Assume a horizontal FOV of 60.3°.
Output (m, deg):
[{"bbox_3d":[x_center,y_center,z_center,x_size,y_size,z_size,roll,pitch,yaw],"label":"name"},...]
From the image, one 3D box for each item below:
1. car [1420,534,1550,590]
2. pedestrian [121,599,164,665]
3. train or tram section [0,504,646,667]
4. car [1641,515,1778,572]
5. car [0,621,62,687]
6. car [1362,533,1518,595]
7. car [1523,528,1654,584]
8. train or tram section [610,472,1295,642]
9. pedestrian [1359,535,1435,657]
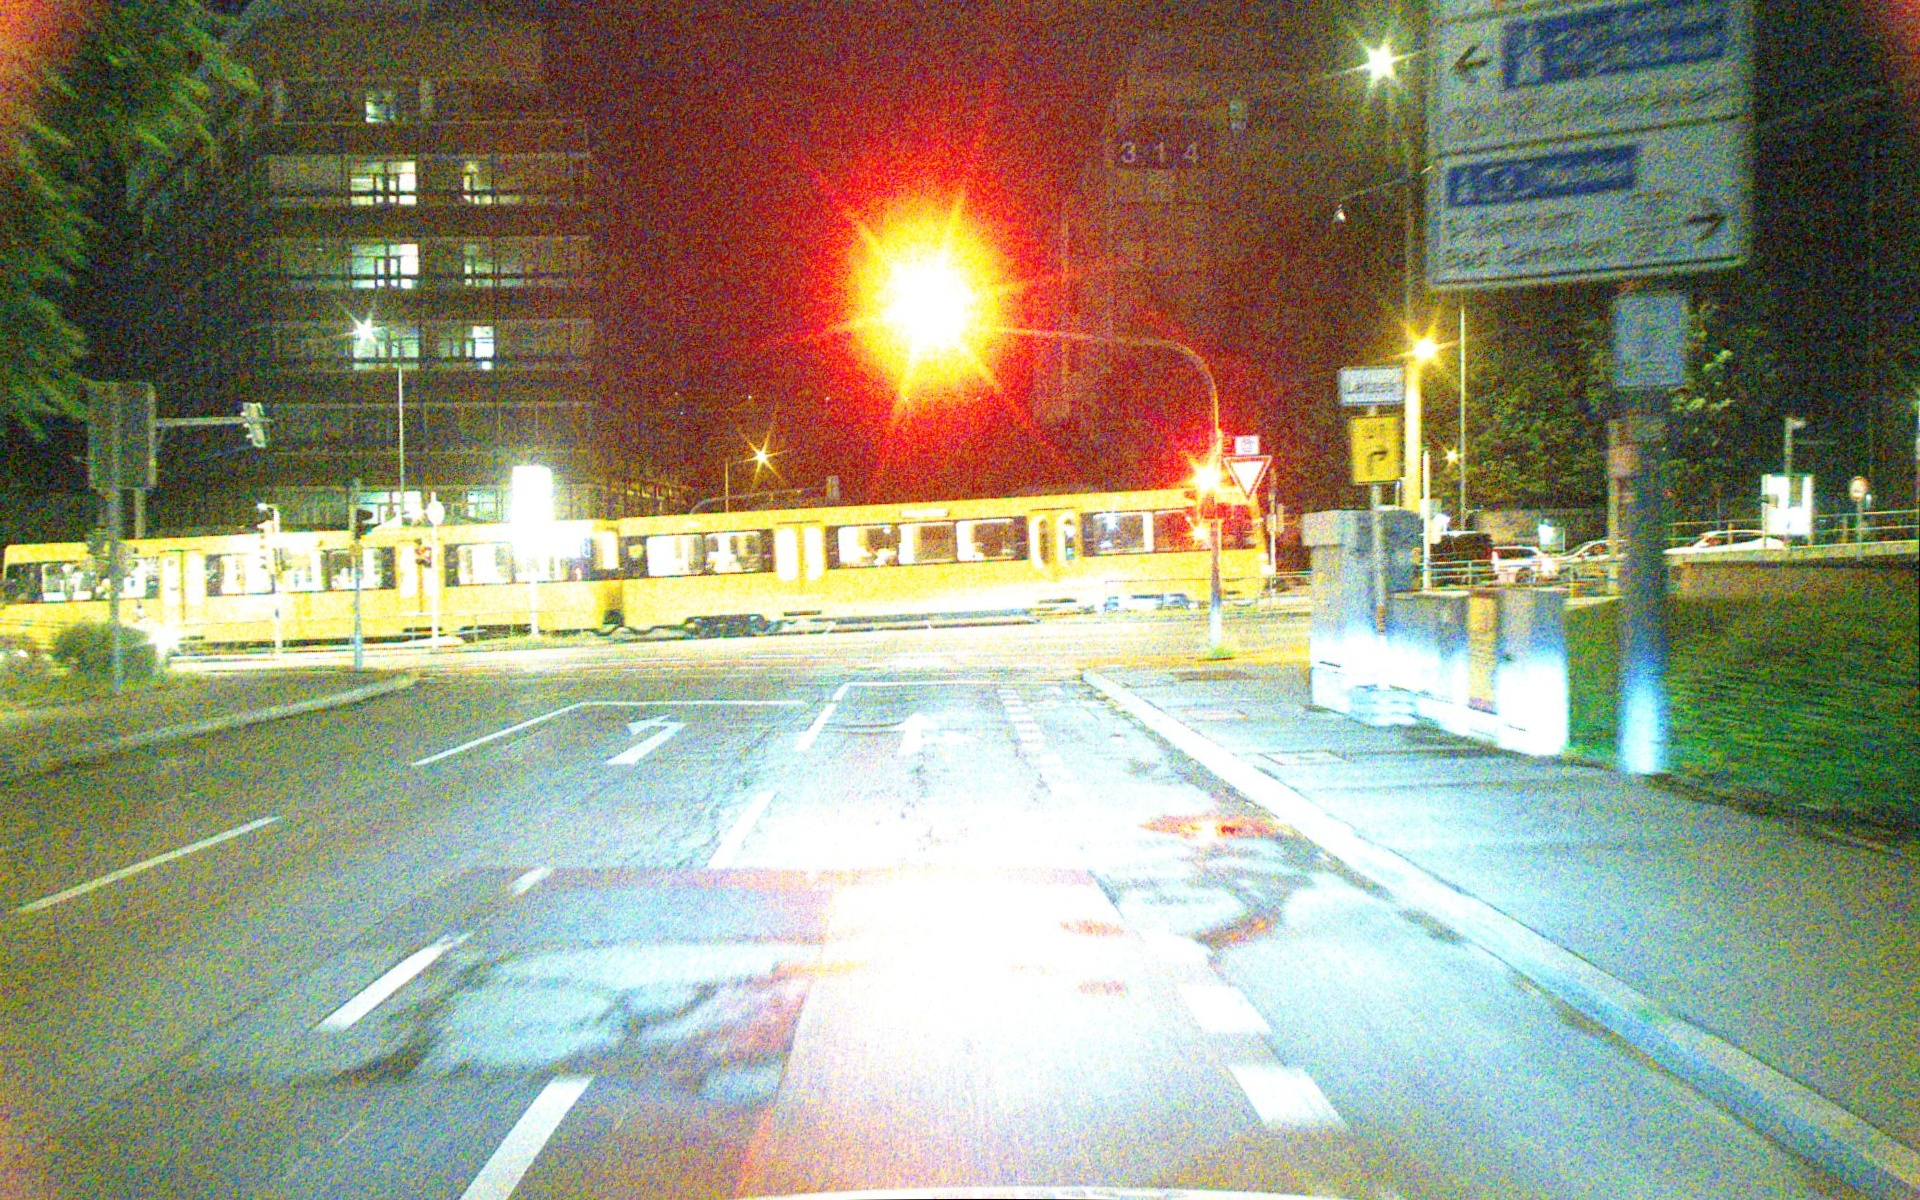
[{"bbox_3d":[18.291,-1.329,57.744,3.972,1.643,1.870,-4,1,8],"label":"car"},{"bbox_3d":[-22.428,0.873,45.403,0.749,1.767,0.659,-3,1,0],"label":"pedestrian"},{"bbox_3d":[-19.186,-0.376,48.442,19.376,3.929,2.942,-2,0,4],"label":"train or tram section"},{"bbox_3d":[26.195,-1.960,57.913,3.903,1.601,1.887,-5,1,9],"label":"car"},{"bbox_3d":[-24.145,1.336,40.094,3.683,1.506,1.910,-2,0,6],"label":"car"},{"bbox_3d":[15.672,-1.174,54.212,4.517,1.668,2.001,-4,1,4],"label":"car"},{"bbox_3d":[20.755,-1.446,54.753,3.685,1.553,1.760,-4,1,8],"label":"car"},{"bbox_3d":[-0.243,-1.163,46.954,18.770,3.889,2.925,-2,0,5],"label":"train or tram section"},{"bbox_3d":[6.519,-0.054,24.693,0.881,1.742,0.775,-3,0,5],"label":"pedestrian"}]
